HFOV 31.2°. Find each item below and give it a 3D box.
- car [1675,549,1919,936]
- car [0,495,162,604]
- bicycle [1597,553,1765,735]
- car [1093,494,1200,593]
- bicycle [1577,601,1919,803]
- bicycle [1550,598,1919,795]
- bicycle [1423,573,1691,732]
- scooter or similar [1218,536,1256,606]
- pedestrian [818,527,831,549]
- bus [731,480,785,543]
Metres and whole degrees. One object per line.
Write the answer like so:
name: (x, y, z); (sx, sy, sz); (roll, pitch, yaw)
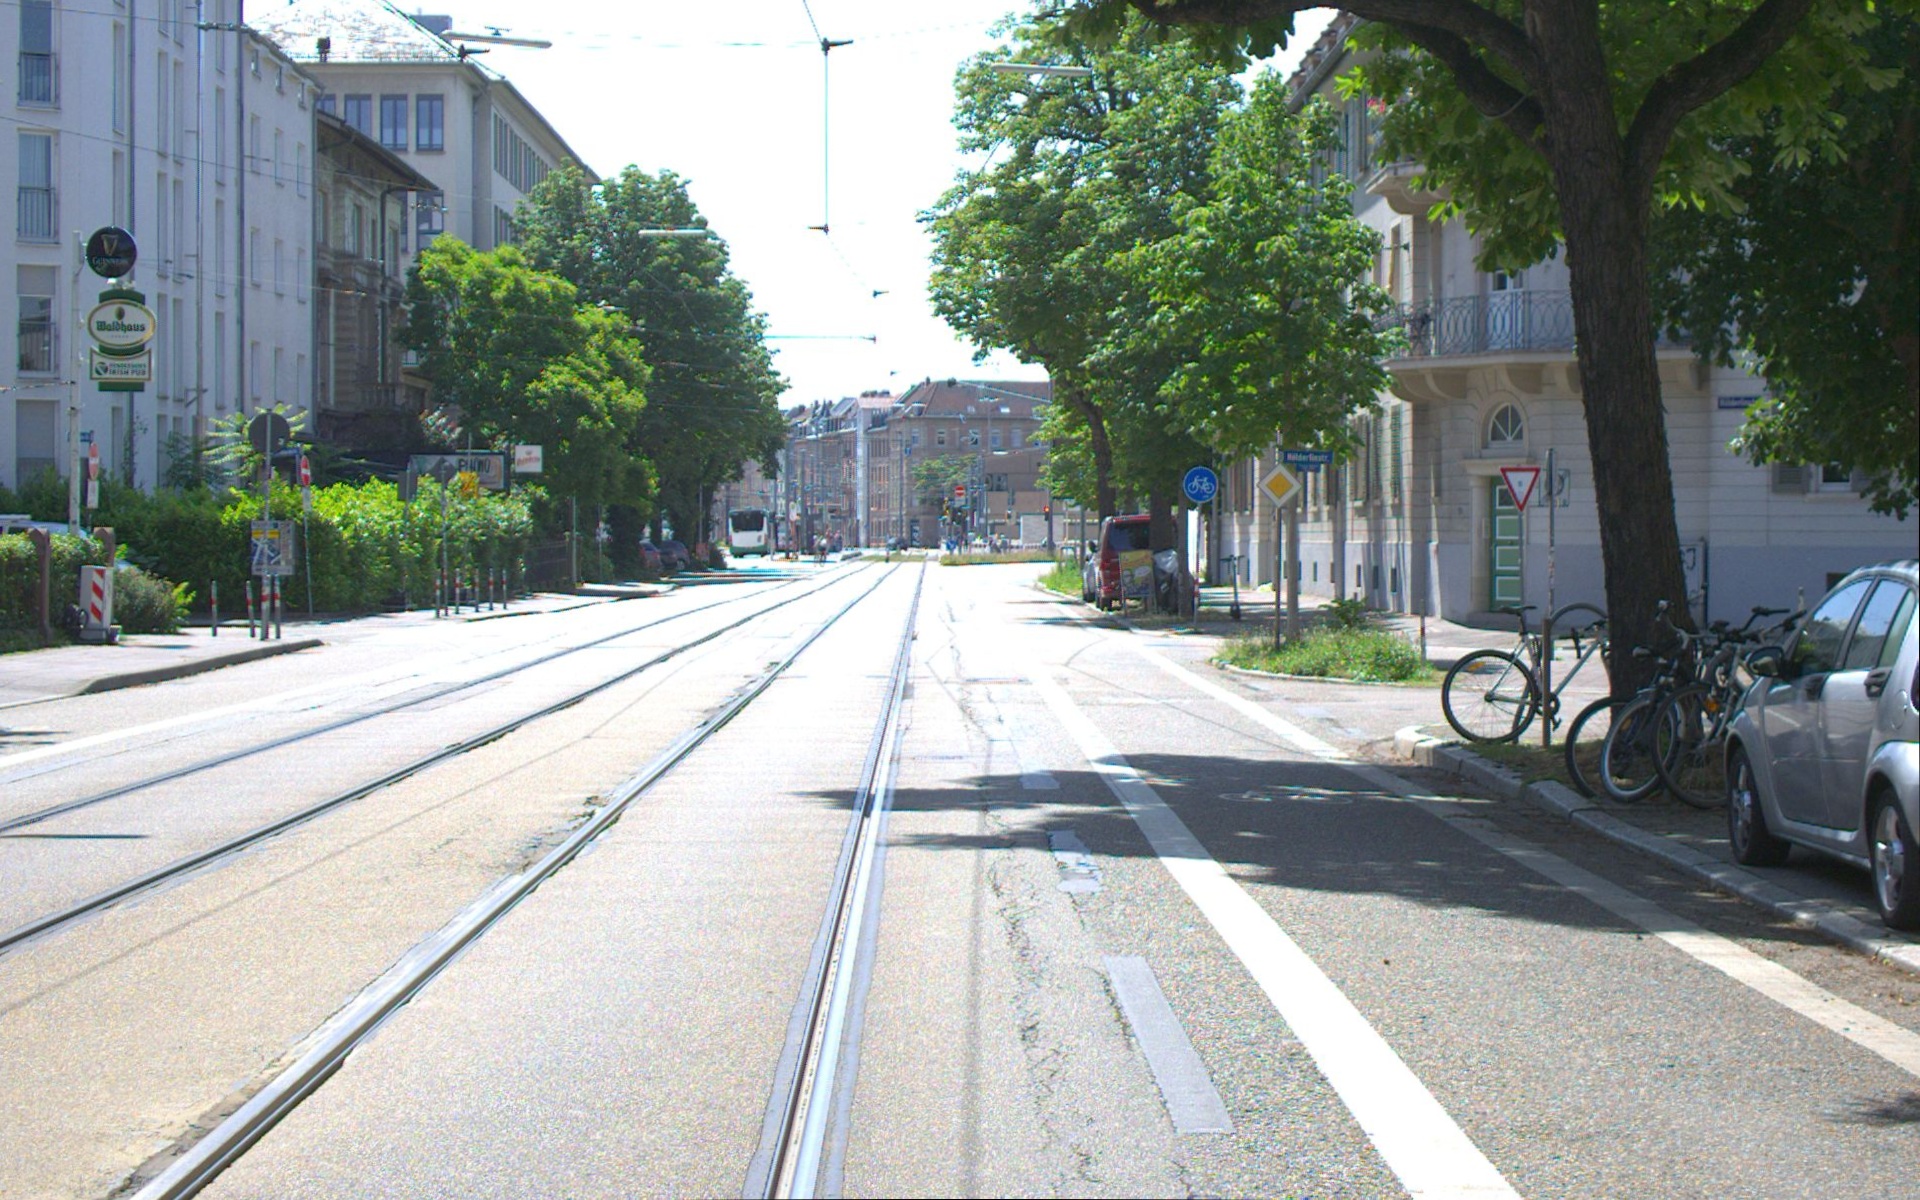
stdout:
car: (4.344, 0.503, 14.862); (1.621, 1.443, 3.810); (-2, 1, -1)
car: (-17.111, -0.951, 62.866); (4.484, 1.897, 1.998); (2, 1, 17)
bicycle: (5.068, 0.301, 24.281); (0.580, 1.227, 2.007); (0, 0, -6)
car: (3.960, -1.233, 73.664); (1.993, 2.028, 4.697); (1, 1, 0)
bicycle: (4.489, 0.562, 19.261); (1.963, 1.109, 0.598); (0, 0, 2)
bicycle: (4.469, 0.550, 19.877); (2.010, 1.109, 0.640); (0, 0, 2)
bicycle: (4.242, 0.369, 24.479); (1.816, 1.109, 0.493); (0, 0, -1)
scooter or similar: (4.932, -0.525, 61.302); (0.501, 1.225, 1.573); (1, 1, -1)
pedestrian: (-7.152, -3.286, 181.278); (0.491, 1.169, 0.590); (0, 1, -23)
bus: (-13.561, -5.916, 231.378); (2.931, 3.923, 11.275); (3, 0, -1)
